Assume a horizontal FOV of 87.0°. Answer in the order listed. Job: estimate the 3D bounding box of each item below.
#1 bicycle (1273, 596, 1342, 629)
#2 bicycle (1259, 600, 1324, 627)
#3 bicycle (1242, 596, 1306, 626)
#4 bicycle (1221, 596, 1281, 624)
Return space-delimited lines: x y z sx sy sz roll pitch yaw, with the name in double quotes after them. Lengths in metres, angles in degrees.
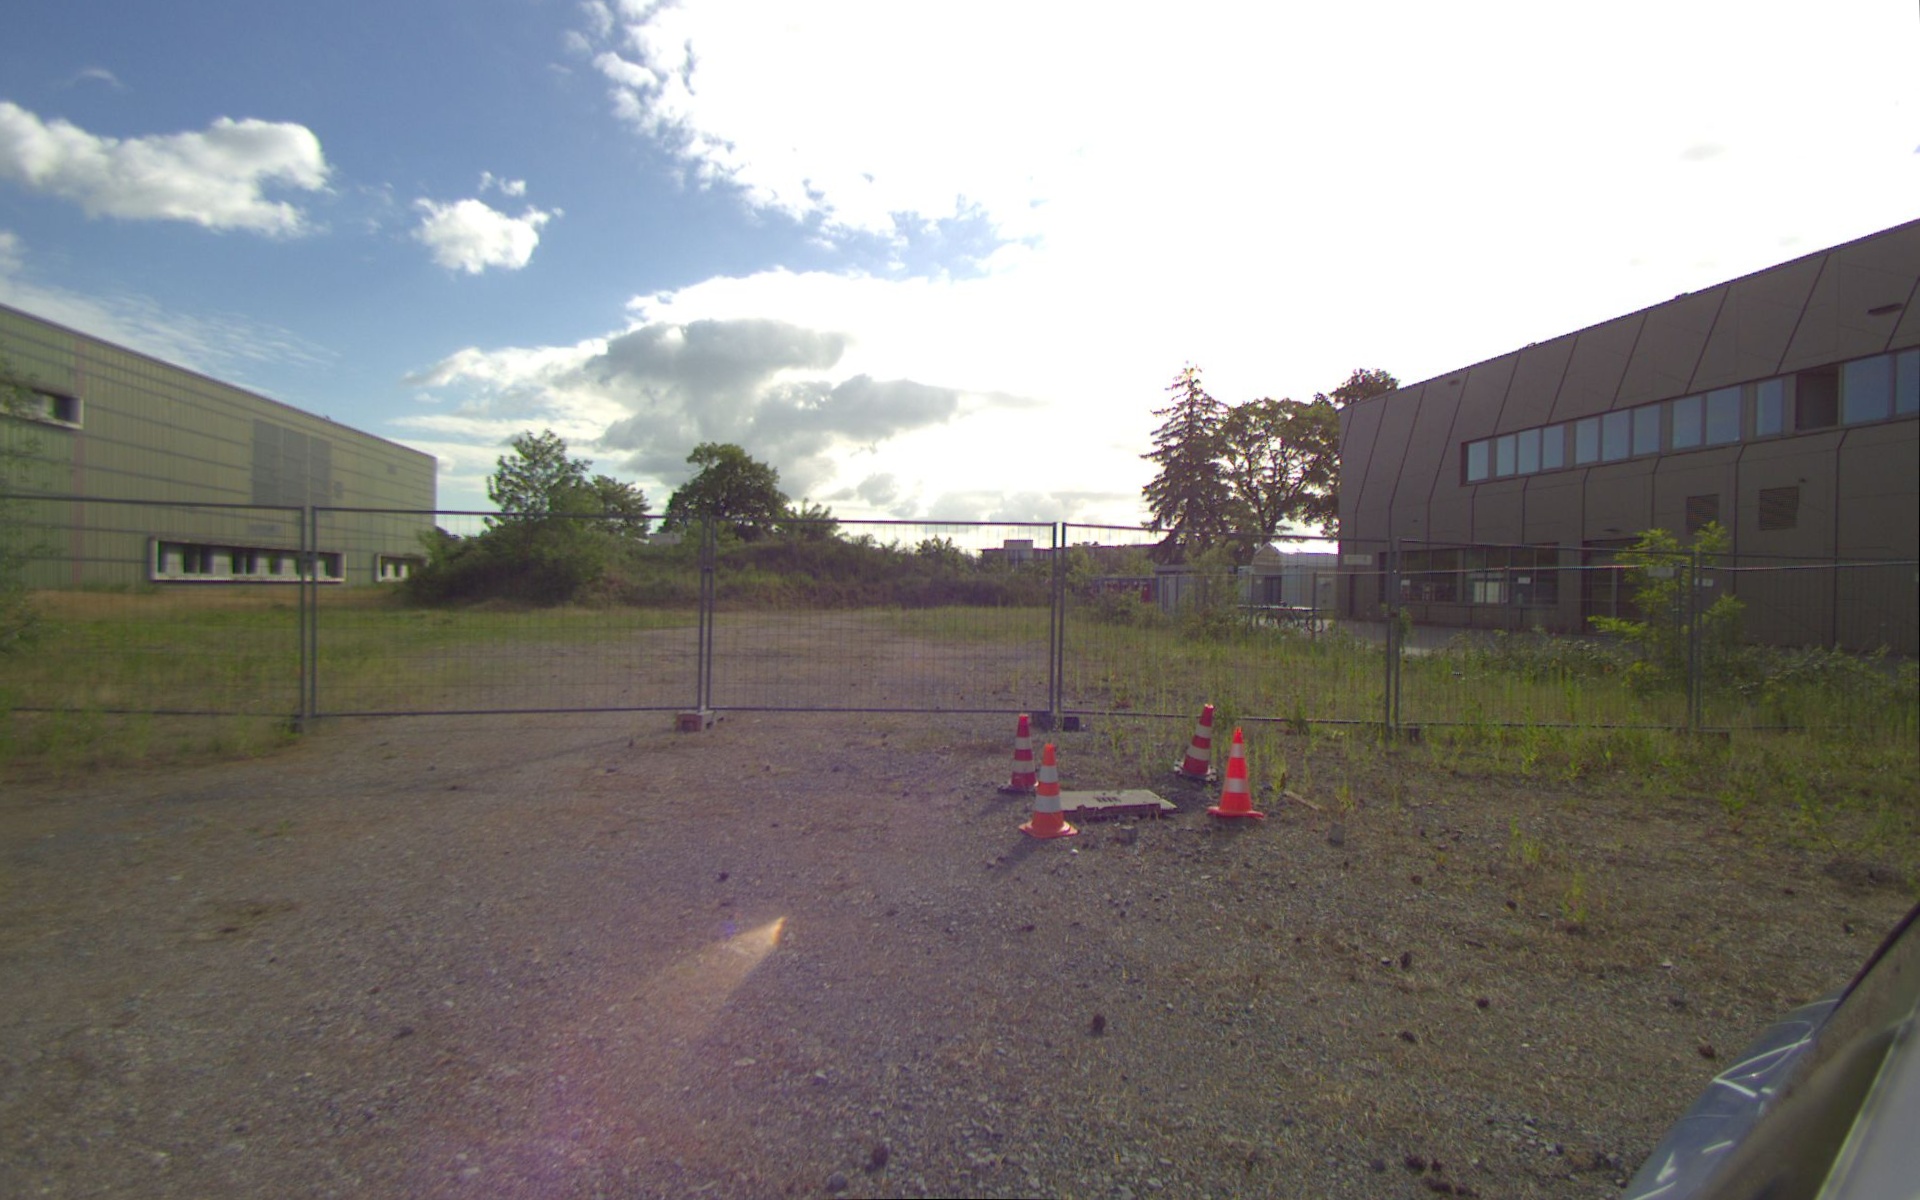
12.049 0.423 35.094 2.026 1.100 0.948 0 0 -11 "bicycle"
11.896 0.484 36.341 2.026 0.933 0.948 0 1 -11 "bicycle"
11.578 0.400 37.311 2.026 1.057 0.948 0 0 -11 "bicycle"
11.329 0.403 39.437 2.026 1.057 0.948 0 0 -11 "bicycle"
